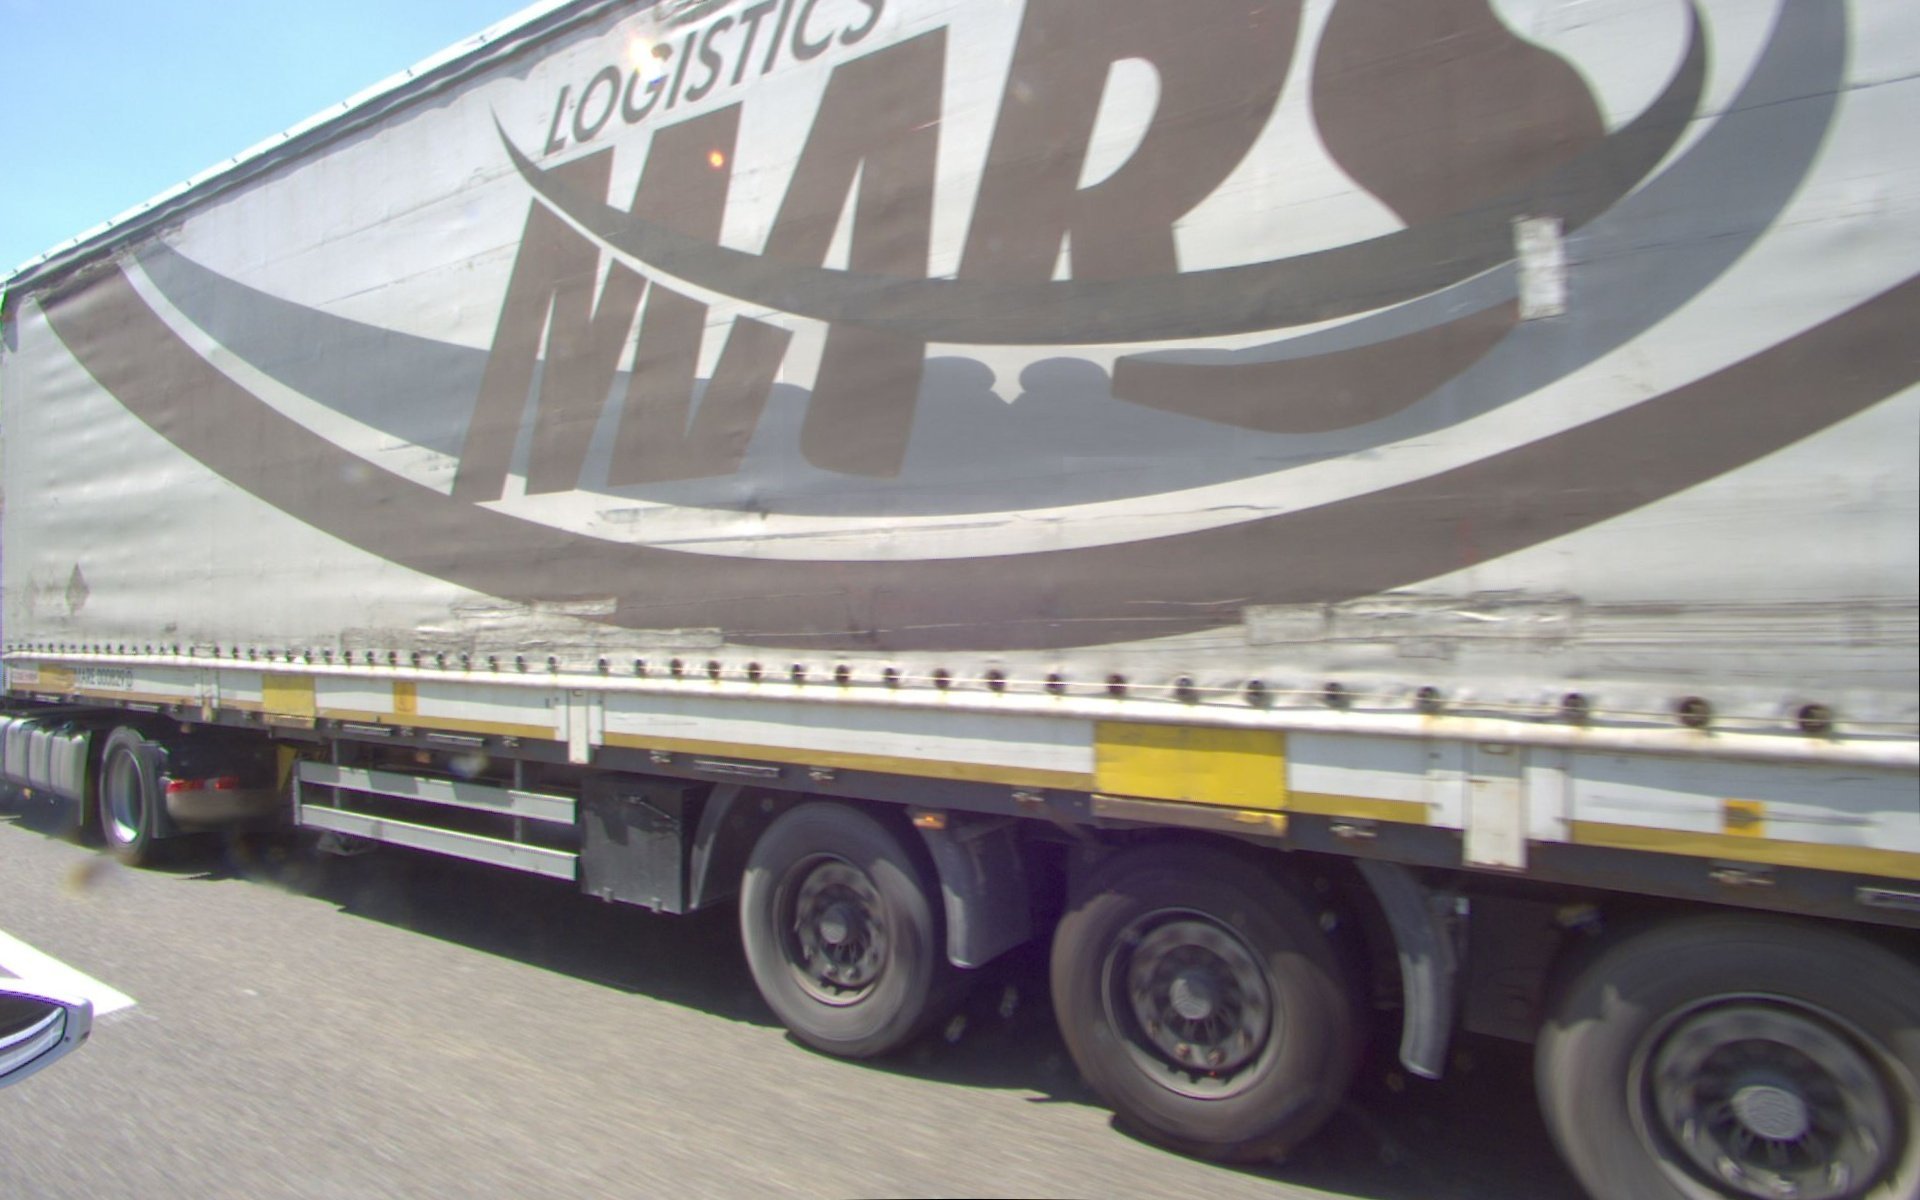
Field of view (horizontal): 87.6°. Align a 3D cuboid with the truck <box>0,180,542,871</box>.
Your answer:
[{"bbox_3d":[-6.598,-0.358,8.626,5.671,4.120,2.715,-1,-1,31],"label":"truck"}]

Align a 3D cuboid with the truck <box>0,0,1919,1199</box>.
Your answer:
[{"bbox_3d":[-0.887,-0.527,5.101,13.543,4.120,2.721,-2,-1,32],"label":"truck"}]
